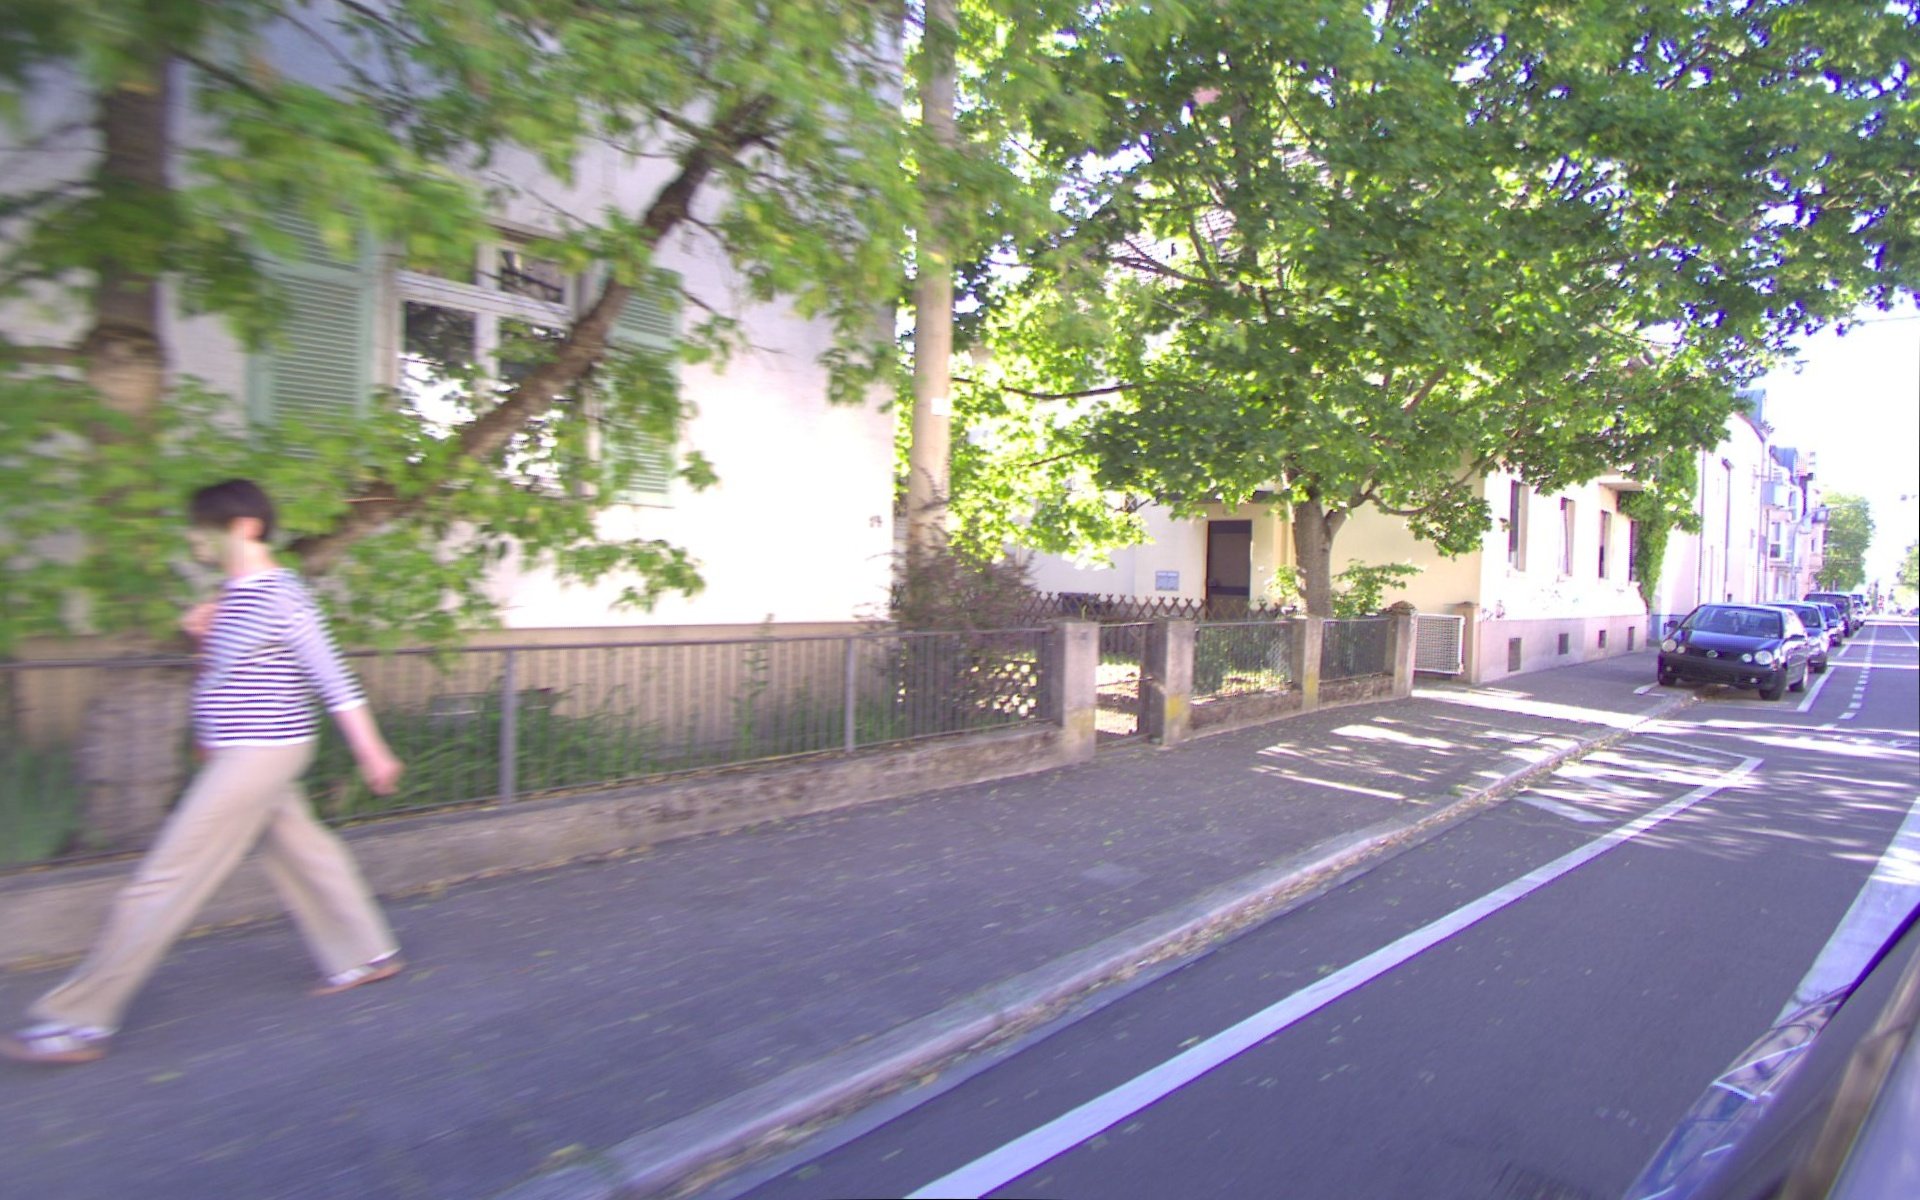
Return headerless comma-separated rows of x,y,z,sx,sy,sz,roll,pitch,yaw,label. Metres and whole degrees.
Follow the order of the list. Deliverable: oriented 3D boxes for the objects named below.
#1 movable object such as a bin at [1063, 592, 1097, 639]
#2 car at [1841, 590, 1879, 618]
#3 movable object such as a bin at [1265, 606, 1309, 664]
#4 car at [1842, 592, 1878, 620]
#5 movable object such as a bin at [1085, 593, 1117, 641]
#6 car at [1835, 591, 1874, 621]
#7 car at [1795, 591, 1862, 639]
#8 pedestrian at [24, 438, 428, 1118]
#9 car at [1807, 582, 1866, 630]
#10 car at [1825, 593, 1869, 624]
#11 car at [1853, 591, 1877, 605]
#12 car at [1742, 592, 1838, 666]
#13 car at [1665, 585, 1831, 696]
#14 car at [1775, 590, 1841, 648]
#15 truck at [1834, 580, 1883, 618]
2.499,0.318,21.035,0.429,0.943,0.516,0,2,-43,movable object such as a bin
58.873,0.216,66.168,1.739,1.768,4.189,1,1,43,car
5.699,0.598,17.652,0.490,0.959,0.529,0,2,-43,movable object such as a bin
52.165,0.346,58.662,1.496,1.577,3.313,1,1,42,car
2.875,0.346,20.623,0.429,0.943,0.448,0,2,-43,movable object such as a bin
49.102,0.323,55.534,1.553,1.577,3.596,1,1,42,car
31.384,0.494,36.586,1.743,1.619,4.367,1,1,41,car
-2.229,0.429,3.086,0.717,1.708,0.857,4,3,42,pedestrian
39.104,0.222,45.122,1.905,2.012,4.493,1,1,42,car
45.625,0.407,52.030,1.676,1.510,4.109,1,1,42,car
106.887,-0.262,119.562,1.979,1.567,3.971,3,1,43,car
19.095,0.606,23.232,1.600,1.544,3.496,1,1,41,car
13.280,0.577,16.986,3.708,1.583,1.667,-1,3,-44,car
25.219,0.522,30.074,1.456,1.619,3.245,1,0,41,car
62.874,-0.072,70.782,2.296,2.508,6.050,3,2,43,truck
